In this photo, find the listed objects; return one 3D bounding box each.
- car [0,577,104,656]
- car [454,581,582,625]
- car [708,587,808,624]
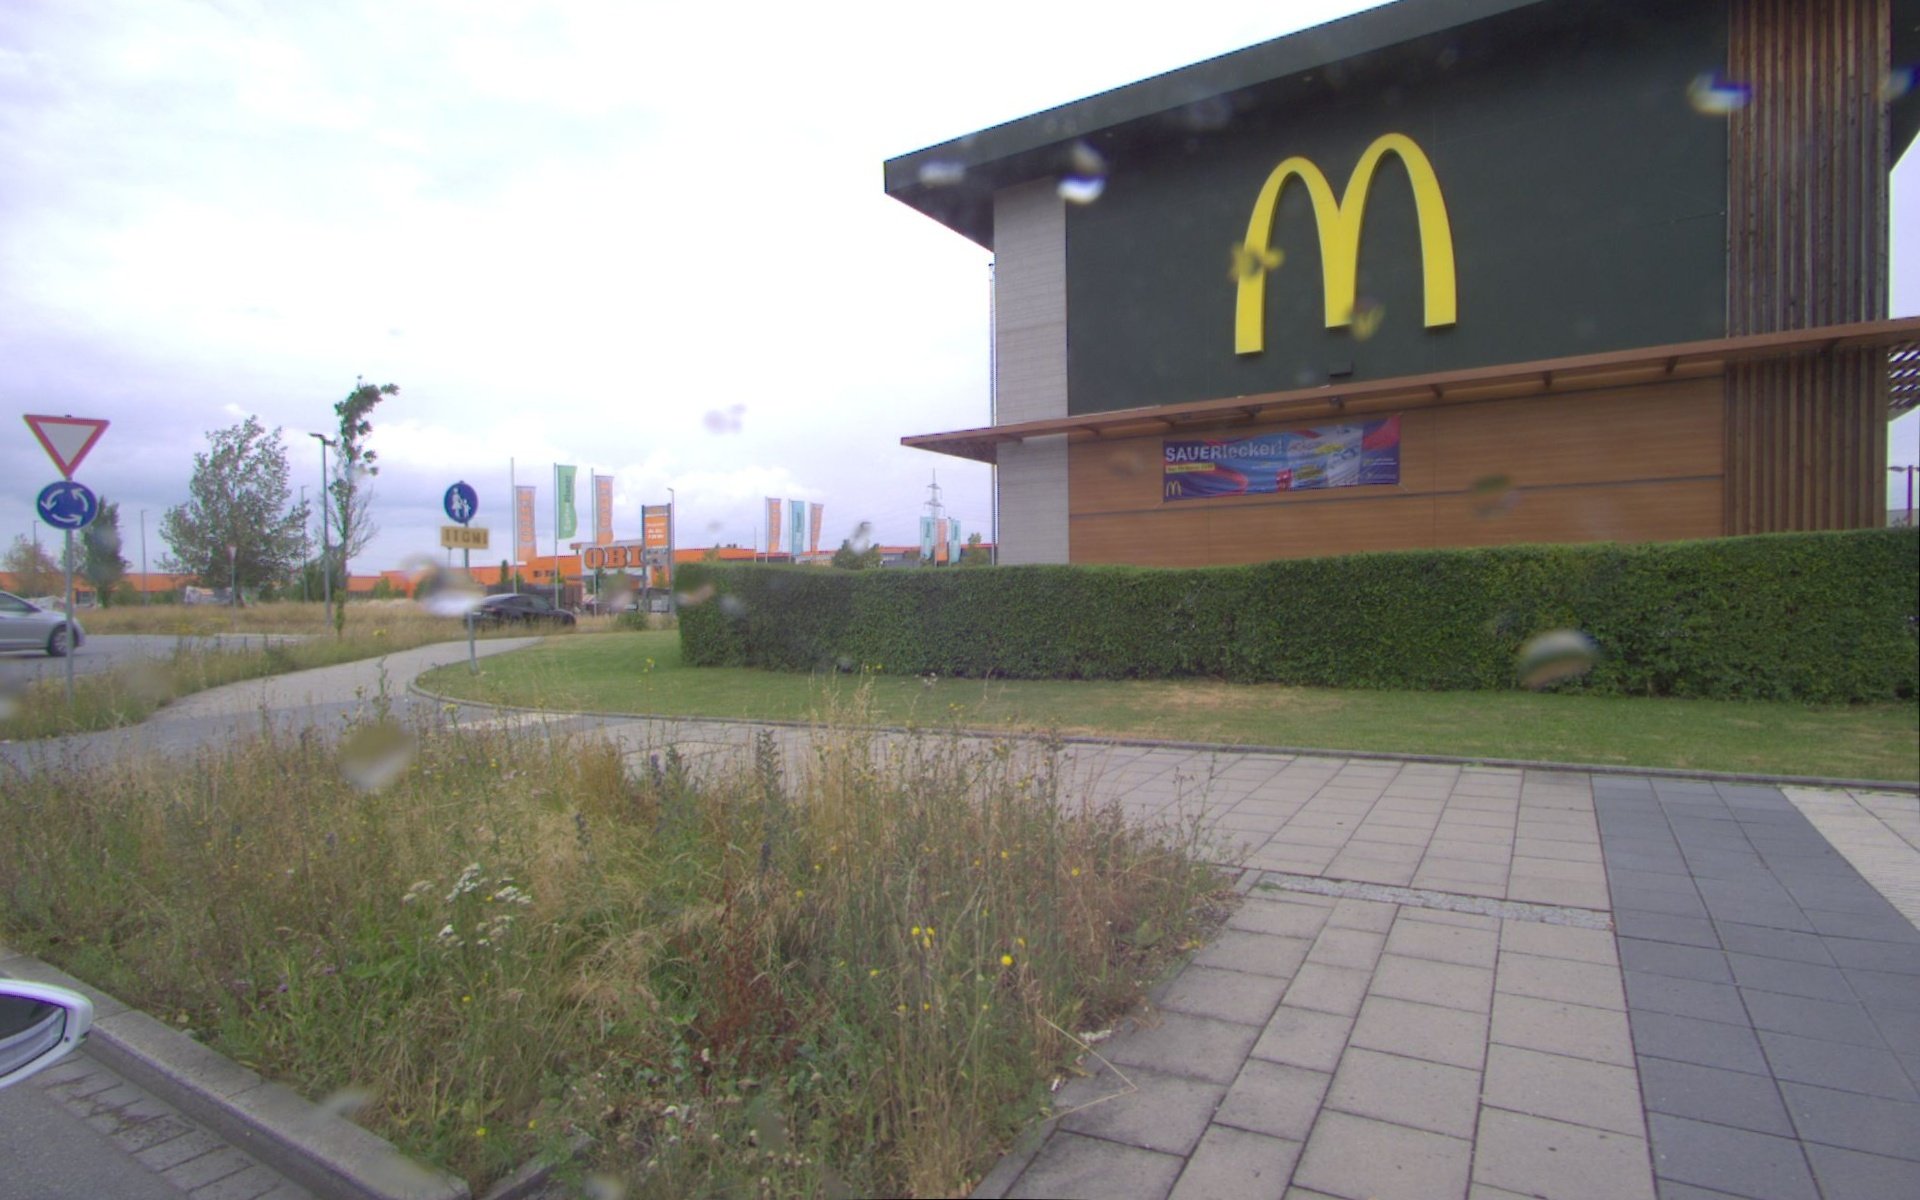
[{"bbox_3d":[-19.399,0.306,19.589,1.778,1.484,3.998,2,1,2],"label":"car"},{"bbox_3d":[-17.031,0.062,38.870,1.909,1.519,4.764,1,2,17],"label":"car"},{"bbox_3d":[-10.302,0.228,51.279,4.727,1.762,1.924,-1,3,-44],"label":"car"}]
